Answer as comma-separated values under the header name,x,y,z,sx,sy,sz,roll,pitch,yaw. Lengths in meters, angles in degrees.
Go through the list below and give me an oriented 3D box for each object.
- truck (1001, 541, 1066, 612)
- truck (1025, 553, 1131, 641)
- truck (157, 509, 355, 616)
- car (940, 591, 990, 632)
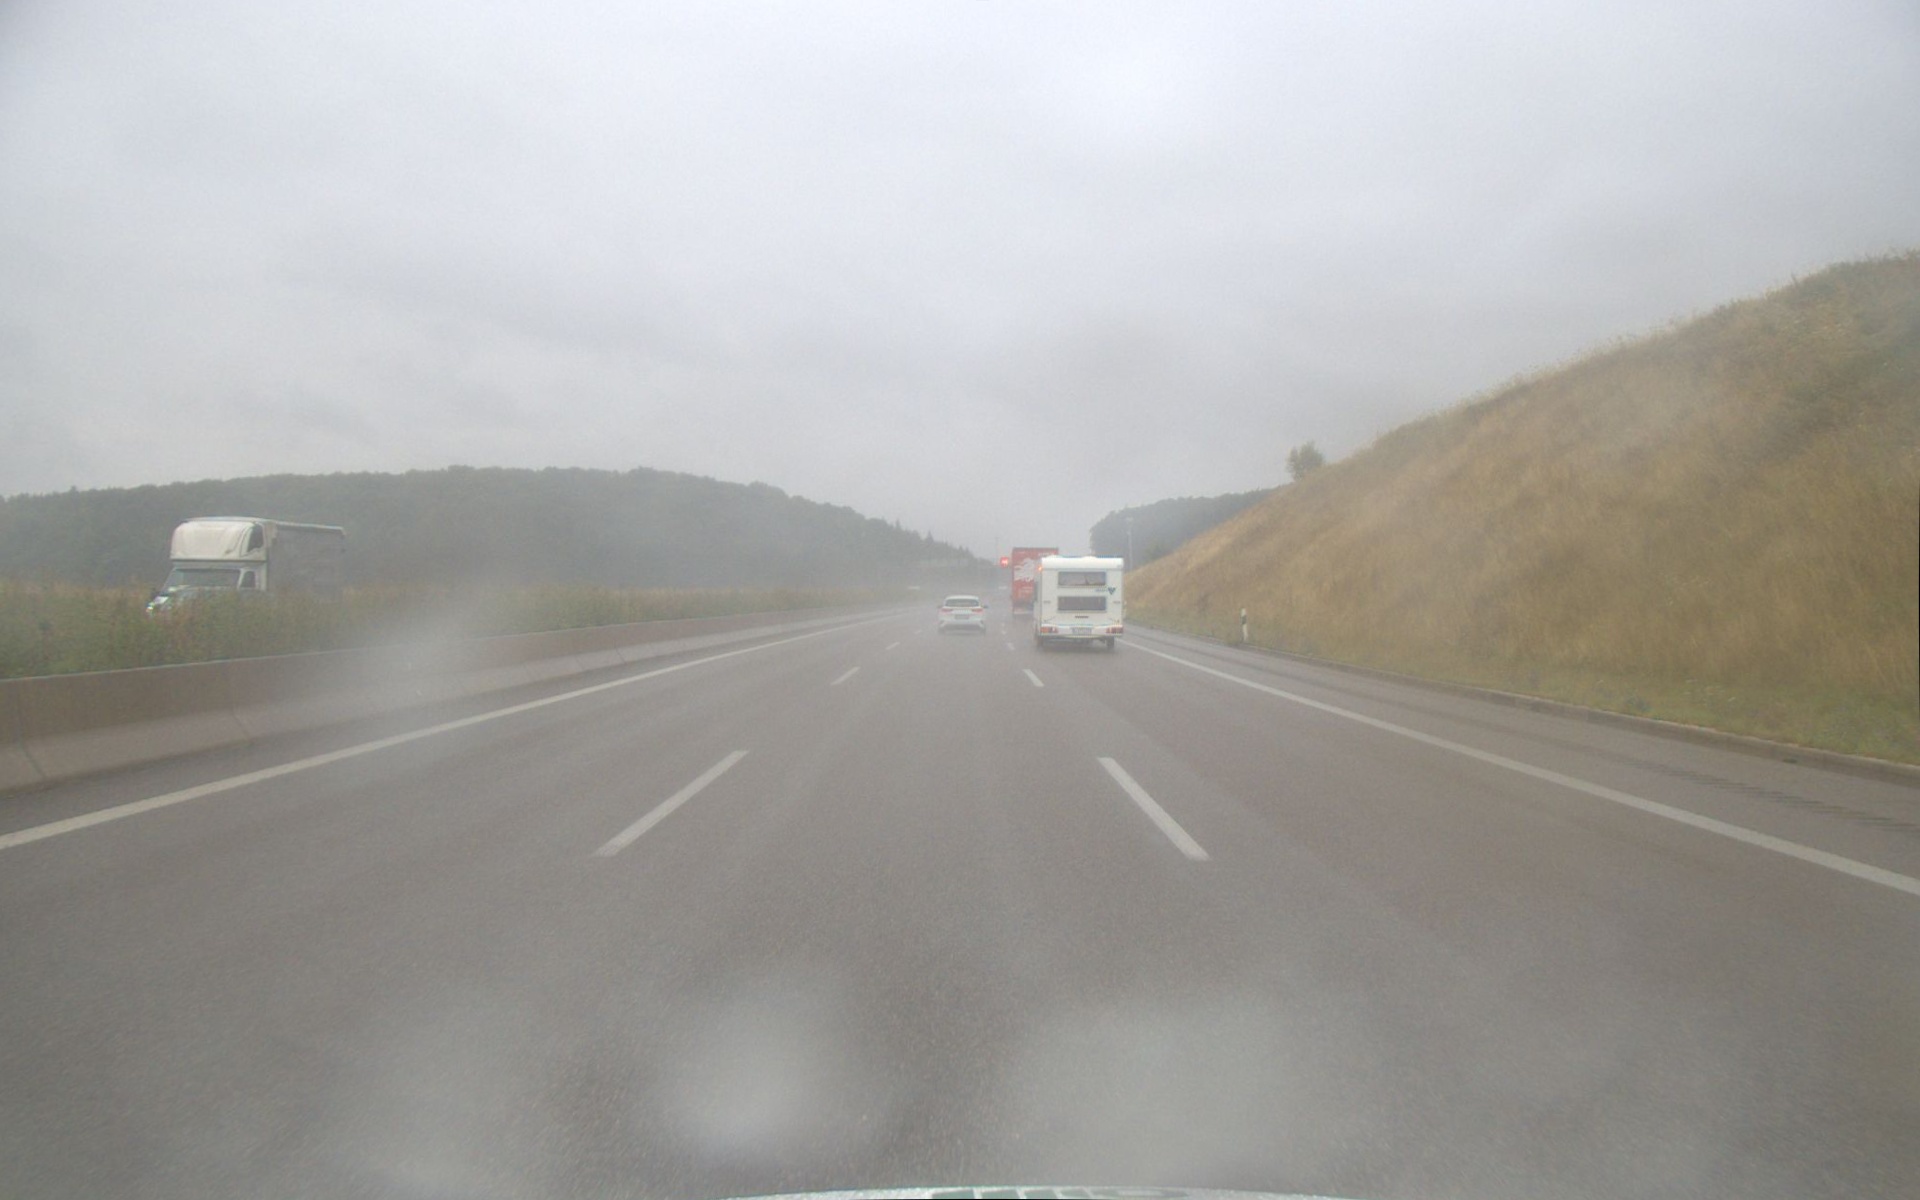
name,x,y,z,sx,sy,sz,roll,pitch,yaw
truck,4.254,-1.355,95.149,3.454,3.808,11.430,1,1,3
truck,3.209,-0.079,45.930,2.360,2.292,4.690,0,0,-3
truck,-18.363,-0.875,43.634,2.128,2.490,6.794,1,-1,2
car,0.167,0.456,62.539,1.829,1.488,3.999,0,-1,-1
